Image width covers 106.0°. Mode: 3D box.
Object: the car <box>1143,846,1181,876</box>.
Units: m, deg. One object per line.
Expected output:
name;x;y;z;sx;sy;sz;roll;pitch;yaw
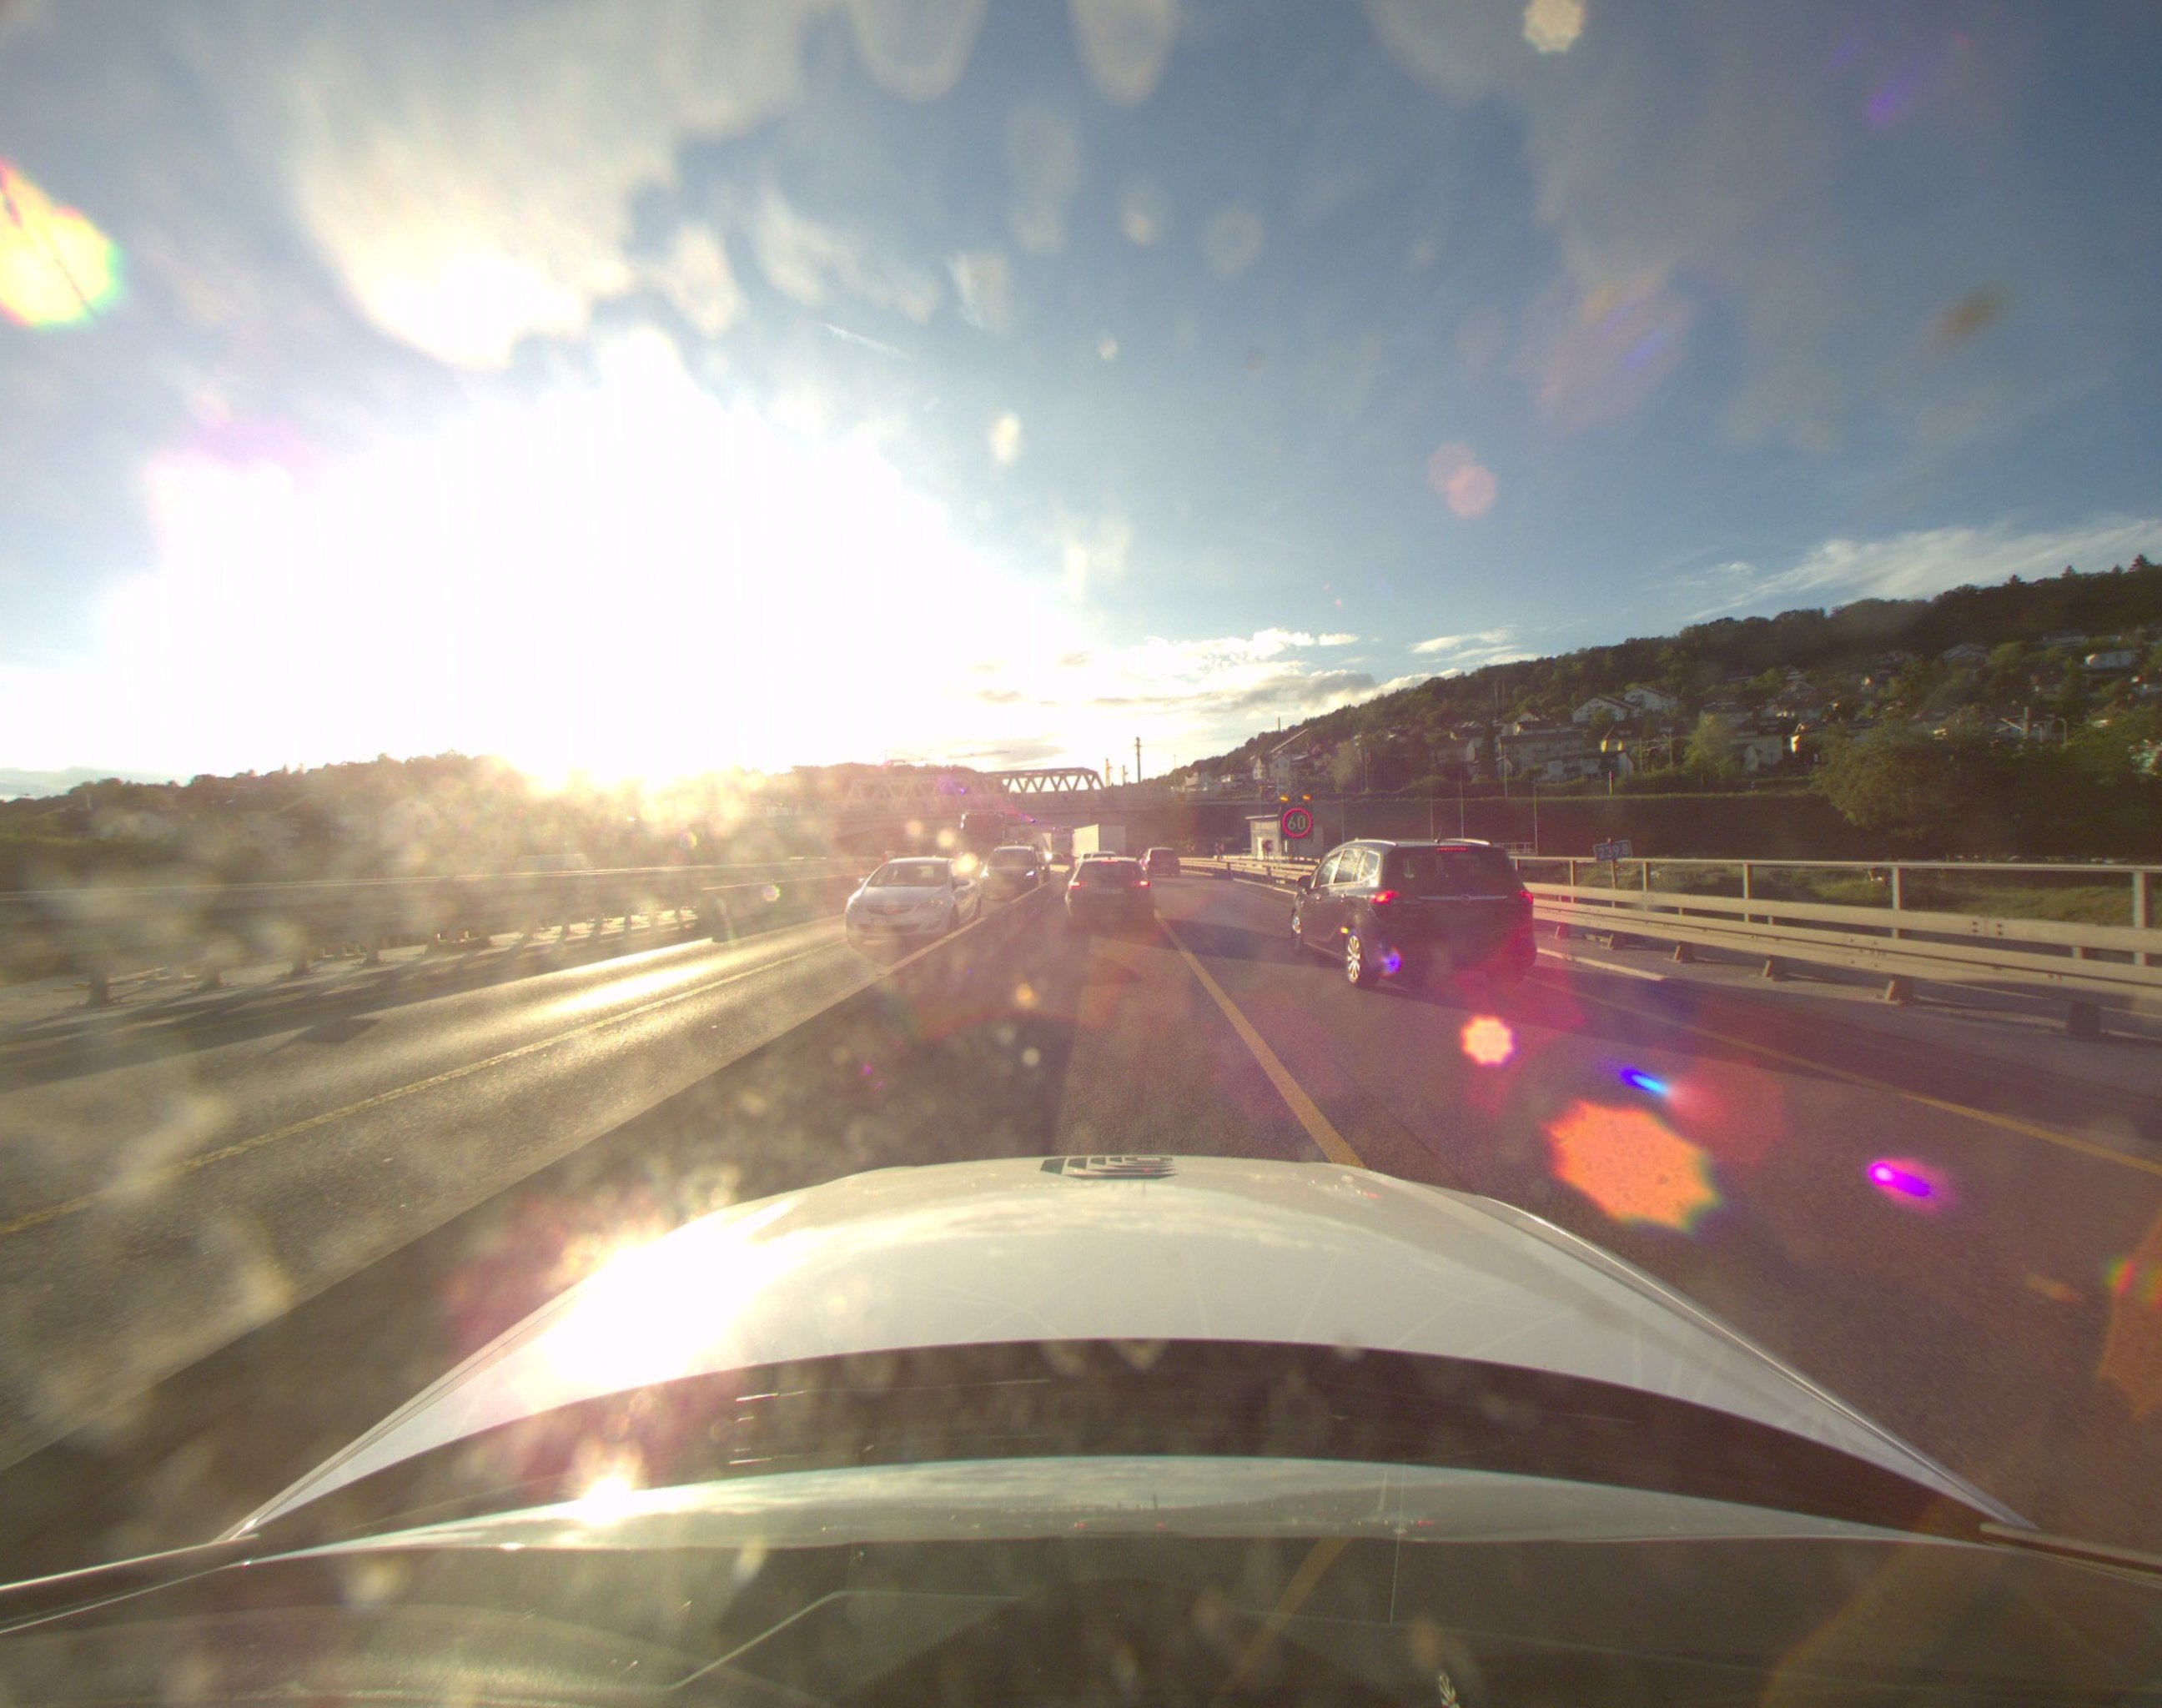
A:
car;4.512;0.363;45.634;1.764;1.552;4.001;1;0;1

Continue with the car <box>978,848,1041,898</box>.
car;-2.327;0.579;27.636;1.787;1.540;4.365;-1;0;-1

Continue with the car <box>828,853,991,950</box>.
car;-2.933;0.744;14.958;1.915;1.497;4.370;-1;0;2

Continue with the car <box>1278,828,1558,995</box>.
car;3.840;0.559;10.199;1.807;1.632;4.413;0;0;2

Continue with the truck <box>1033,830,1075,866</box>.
truck;-3.778;-0.805;109.434;3.889;4.498;15.219;0;0;-9

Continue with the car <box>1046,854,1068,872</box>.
car;-2.421;0.904;80.898;1.698;1.732;3.988;0;0;-8

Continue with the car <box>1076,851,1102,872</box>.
car;0.589;0.526;59.828;1.760;1.486;3.997;0;0;-2

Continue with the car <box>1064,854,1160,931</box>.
car;0.608;0.721;17.073;1.764;1.390;4.001;1;0;1

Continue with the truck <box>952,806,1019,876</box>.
truck;-5.774;-0.755;50.920;2.921;3.890;10.262;0;0;0

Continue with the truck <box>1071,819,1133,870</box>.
truck;1.812;-0.839;80.248;3.385;4.498;15.219;0;0;-9

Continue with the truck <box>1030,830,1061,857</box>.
truck;-6.340;-1.941;144.474;3.890;4.497;13.804;0;1;-9

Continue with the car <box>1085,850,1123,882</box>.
car;1.097;0.535;40.054;1.759;1.486;4.000;0;0;0
